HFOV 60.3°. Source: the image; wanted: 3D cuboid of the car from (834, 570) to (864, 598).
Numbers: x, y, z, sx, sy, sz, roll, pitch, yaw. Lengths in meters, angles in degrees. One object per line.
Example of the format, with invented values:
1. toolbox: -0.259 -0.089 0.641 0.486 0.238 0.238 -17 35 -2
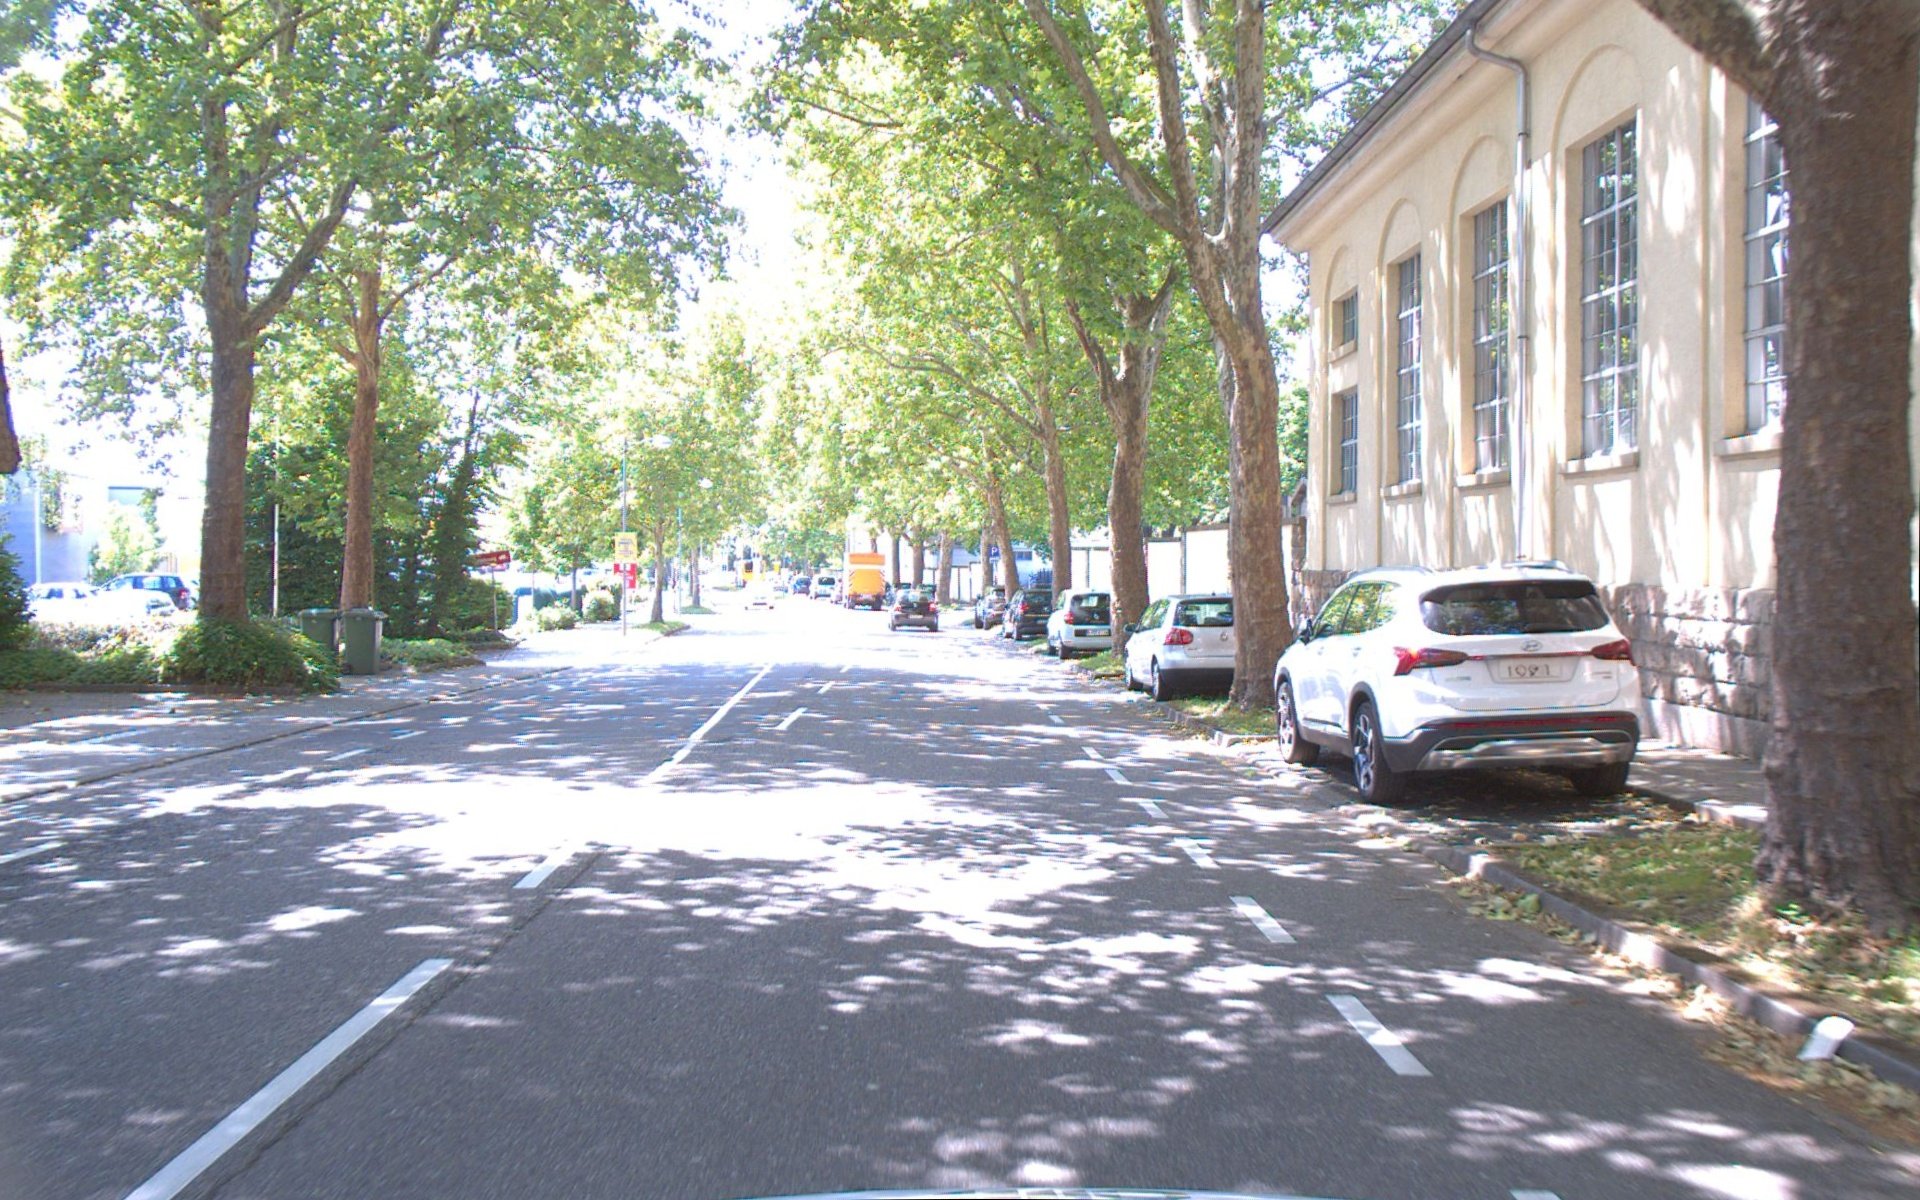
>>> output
1. car: -7.276 -1.036 107.998 1.743 1.734 3.993 -1 -1 -7

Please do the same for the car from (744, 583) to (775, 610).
1. car: -11.371 -0.210 93.794 1.678 1.473 4.052 -1 0 -6

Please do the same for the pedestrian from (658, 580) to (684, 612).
1. pedestrian: -14.396 -0.211 82.345 1.079 1.547 0.963 0 0 -22

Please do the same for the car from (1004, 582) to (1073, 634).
1. car: 2.377 0.226 51.007 1.731 1.491 3.874 -2 1 -2

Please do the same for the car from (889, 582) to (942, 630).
1. car: -1.617 0.174 58.842 1.677 1.472 4.055 -1 3 -4

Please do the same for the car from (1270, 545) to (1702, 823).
1. car: 3.834 0.520 13.007 1.771 1.718 4.751 -2 0 -1

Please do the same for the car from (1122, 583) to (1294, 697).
1. car: 3.513 0.516 24.051 1.731 1.458 3.874 -2 1 -2

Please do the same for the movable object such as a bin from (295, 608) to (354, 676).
1. movable object such as a bin: -10.693 0.700 27.848 0.720 1.097 0.701 -1 0 -1

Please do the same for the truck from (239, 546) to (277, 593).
1. truck: -47.823 -2.037 112.647 2.290 2.943 6.534 0 -1 -23

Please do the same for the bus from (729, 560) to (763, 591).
1. bus: -23.878 -2.705 184.259 2.618 3.205 11.159 -1 0 -13

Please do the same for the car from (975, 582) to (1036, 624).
1. car: 1.638 0.093 60.691 1.732 1.398 3.725 -2 1 -6

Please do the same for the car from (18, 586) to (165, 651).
1. car: -28.420 0.603 54.244 3.924 2.049 1.990 -1 -1 -17

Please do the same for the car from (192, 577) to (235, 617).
1. car: -40.112 -0.125 88.956 1.966 2.049 3.972 0 -1 -23

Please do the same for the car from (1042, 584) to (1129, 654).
1. car: 2.874 0.397 38.571 1.546 1.491 3.874 -2 1 -2

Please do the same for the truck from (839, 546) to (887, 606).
1. truck: -5.579 -1.329 94.206 2.325 3.189 5.759 -1 -1 -7

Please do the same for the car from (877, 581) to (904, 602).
1. car: -5.050 -0.607 119.894 1.732 1.398 3.725 -2 1 -6

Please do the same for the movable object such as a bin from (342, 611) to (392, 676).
1. movable object such as a bin: -9.982 0.720 27.866 0.611 1.066 0.620 -1 0 -1

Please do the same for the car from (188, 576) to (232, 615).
1. car: -32.868 -0.174 72.531 1.579 1.613 3.743 0 -1 -22

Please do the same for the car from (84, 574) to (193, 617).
1. car: -32.444 -0.191 65.422 3.706 1.613 1.595 -1 0 -23

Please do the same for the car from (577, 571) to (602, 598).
1. car: -30.230 -1.231 134.863 1.959 2.049 3.986 -1 -1 -14

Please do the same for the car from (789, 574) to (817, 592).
1. car: -13.042 -1.406 137.321 1.737 1.398 3.716 -2 1 -14

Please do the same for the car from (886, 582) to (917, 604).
1. car: -3.874 -0.455 108.929 1.732 1.398 3.725 -2 1 -6

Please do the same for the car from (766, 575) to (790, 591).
1. car: -16.926 -1.553 153.524 1.736 1.398 3.717 -2 1 -13

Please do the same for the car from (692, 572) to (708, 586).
1. car: -33.547 -2.743 213.459 1.691 1.747 3.987 0 0 -13

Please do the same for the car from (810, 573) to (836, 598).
1. car: -10.077 -1.072 121.784 1.843 1.715 3.995 -1 -1 -6

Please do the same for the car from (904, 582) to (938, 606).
1. car: -2.309 -0.347 97.507 1.732 1.398 3.725 0 0 -6
